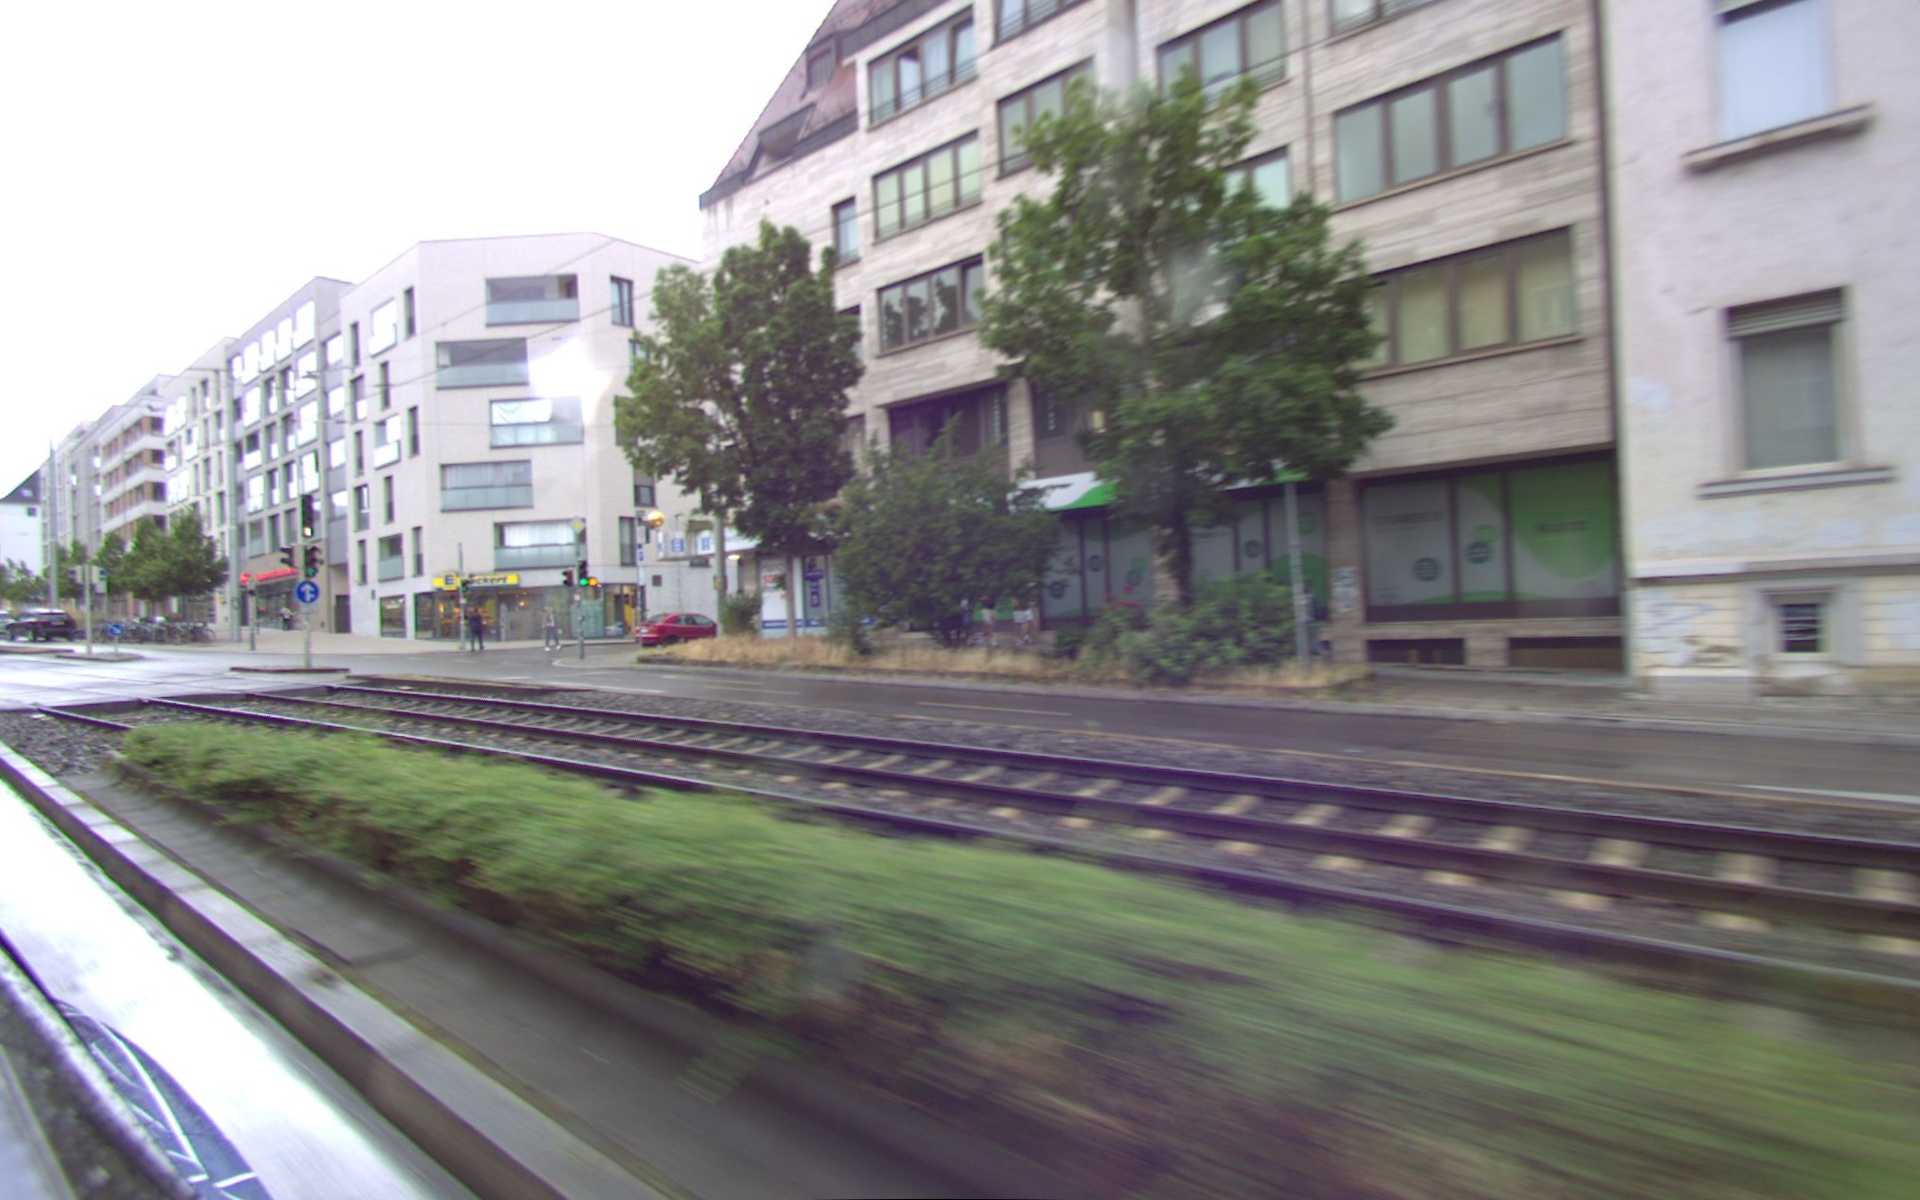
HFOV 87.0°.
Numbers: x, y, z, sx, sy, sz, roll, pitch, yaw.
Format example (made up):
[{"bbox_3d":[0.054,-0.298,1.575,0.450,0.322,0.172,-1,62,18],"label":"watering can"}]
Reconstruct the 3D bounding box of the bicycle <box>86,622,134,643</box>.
[{"bbox_3d":[-41.302,1.583,49.190,0.385,0.924,1.774,0,1,26],"label":"bicycle"}]

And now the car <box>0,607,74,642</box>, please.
[{"bbox_3d":[-46.739,1.215,51.093,4.312,1.615,1.669,0,2,30],"label":"car"}]

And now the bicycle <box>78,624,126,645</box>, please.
[{"bbox_3d":[-42.043,1.687,49.620,0.385,0.924,1.774,0,1,26],"label":"bicycle"}]

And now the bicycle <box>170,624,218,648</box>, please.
[{"bbox_3d":[-35.521,1.675,46.944,0.438,0.987,1.774,0,2,26],"label":"bicycle"}]

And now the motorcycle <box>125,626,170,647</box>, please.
[{"bbox_3d":[-42.334,1.892,52.744,0.540,1.050,1.748,2,1,27],"label":"motorcycle"}]

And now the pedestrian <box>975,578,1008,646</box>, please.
[{"bbox_3d":[0.756,0.274,24.260,0.585,1.609,0.499,1,3,39],"label":"pedestrian"}]

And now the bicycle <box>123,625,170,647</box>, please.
[{"bbox_3d":[-38.840,1.694,48.337,0.385,0.924,1.774,0,2,26],"label":"bicycle"}]

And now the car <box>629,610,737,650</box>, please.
[{"bbox_3d":[-10.425,1.080,38.231,1.594,1.327,3.653,1,2,43],"label":"car"}]

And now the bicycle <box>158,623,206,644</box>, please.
[{"bbox_3d":[-36.529,1.573,47.548,0.385,0.883,1.772,0,2,28],"label":"bicycle"}]

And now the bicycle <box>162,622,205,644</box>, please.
[{"bbox_3d":[-37.000,1.560,48.245,0.383,0.924,1.782,0,2,12],"label":"bicycle"}]

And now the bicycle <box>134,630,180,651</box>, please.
[{"bbox_3d":[-37.943,1.917,47.852,0.385,0.924,1.776,0,0,22],"label":"bicycle"}]

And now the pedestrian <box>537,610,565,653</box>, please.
[{"bbox_3d":[-15.733,1.211,38.912,0.767,1.580,0.648,-1,2,3],"label":"pedestrian"}]

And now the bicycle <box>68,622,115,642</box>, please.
[{"bbox_3d":[-42.901,1.569,50.019,0.385,0.924,1.774,0,1,26],"label":"bicycle"}]

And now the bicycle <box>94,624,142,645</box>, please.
[{"bbox_3d":[-40.447,1.655,48.644,0.385,0.924,1.774,0,1,26],"label":"bicycle"}]

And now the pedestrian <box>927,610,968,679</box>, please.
[{"bbox_3d":[-0.297,1.039,24.134,0.683,1.560,0.641,1,3,39],"label":"pedestrian"}]

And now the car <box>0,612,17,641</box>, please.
[{"bbox_3d":[-52.763,1.410,54.491,4.312,1.475,1.669,0,2,30],"label":"car"}]

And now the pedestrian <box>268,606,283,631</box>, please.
[{"bbox_3d":[-40.983,1.113,60.586,0.803,1.460,0.533,1,3,43],"label":"pedestrian"}]

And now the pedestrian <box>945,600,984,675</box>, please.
[{"bbox_3d":[0.108,0.896,24.658,0.683,1.737,0.641,1,3,39],"label":"pedestrian"}]

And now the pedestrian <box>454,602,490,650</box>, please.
[{"bbox_3d":[-19.171,1.023,39.776,0.956,1.843,0.923,0,0,33],"label":"pedestrian"}]

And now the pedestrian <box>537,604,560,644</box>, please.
[{"bbox_3d":[-18.030,1.054,44.354,0.580,1.723,0.701,0,1,17],"label":"pedestrian"}]
